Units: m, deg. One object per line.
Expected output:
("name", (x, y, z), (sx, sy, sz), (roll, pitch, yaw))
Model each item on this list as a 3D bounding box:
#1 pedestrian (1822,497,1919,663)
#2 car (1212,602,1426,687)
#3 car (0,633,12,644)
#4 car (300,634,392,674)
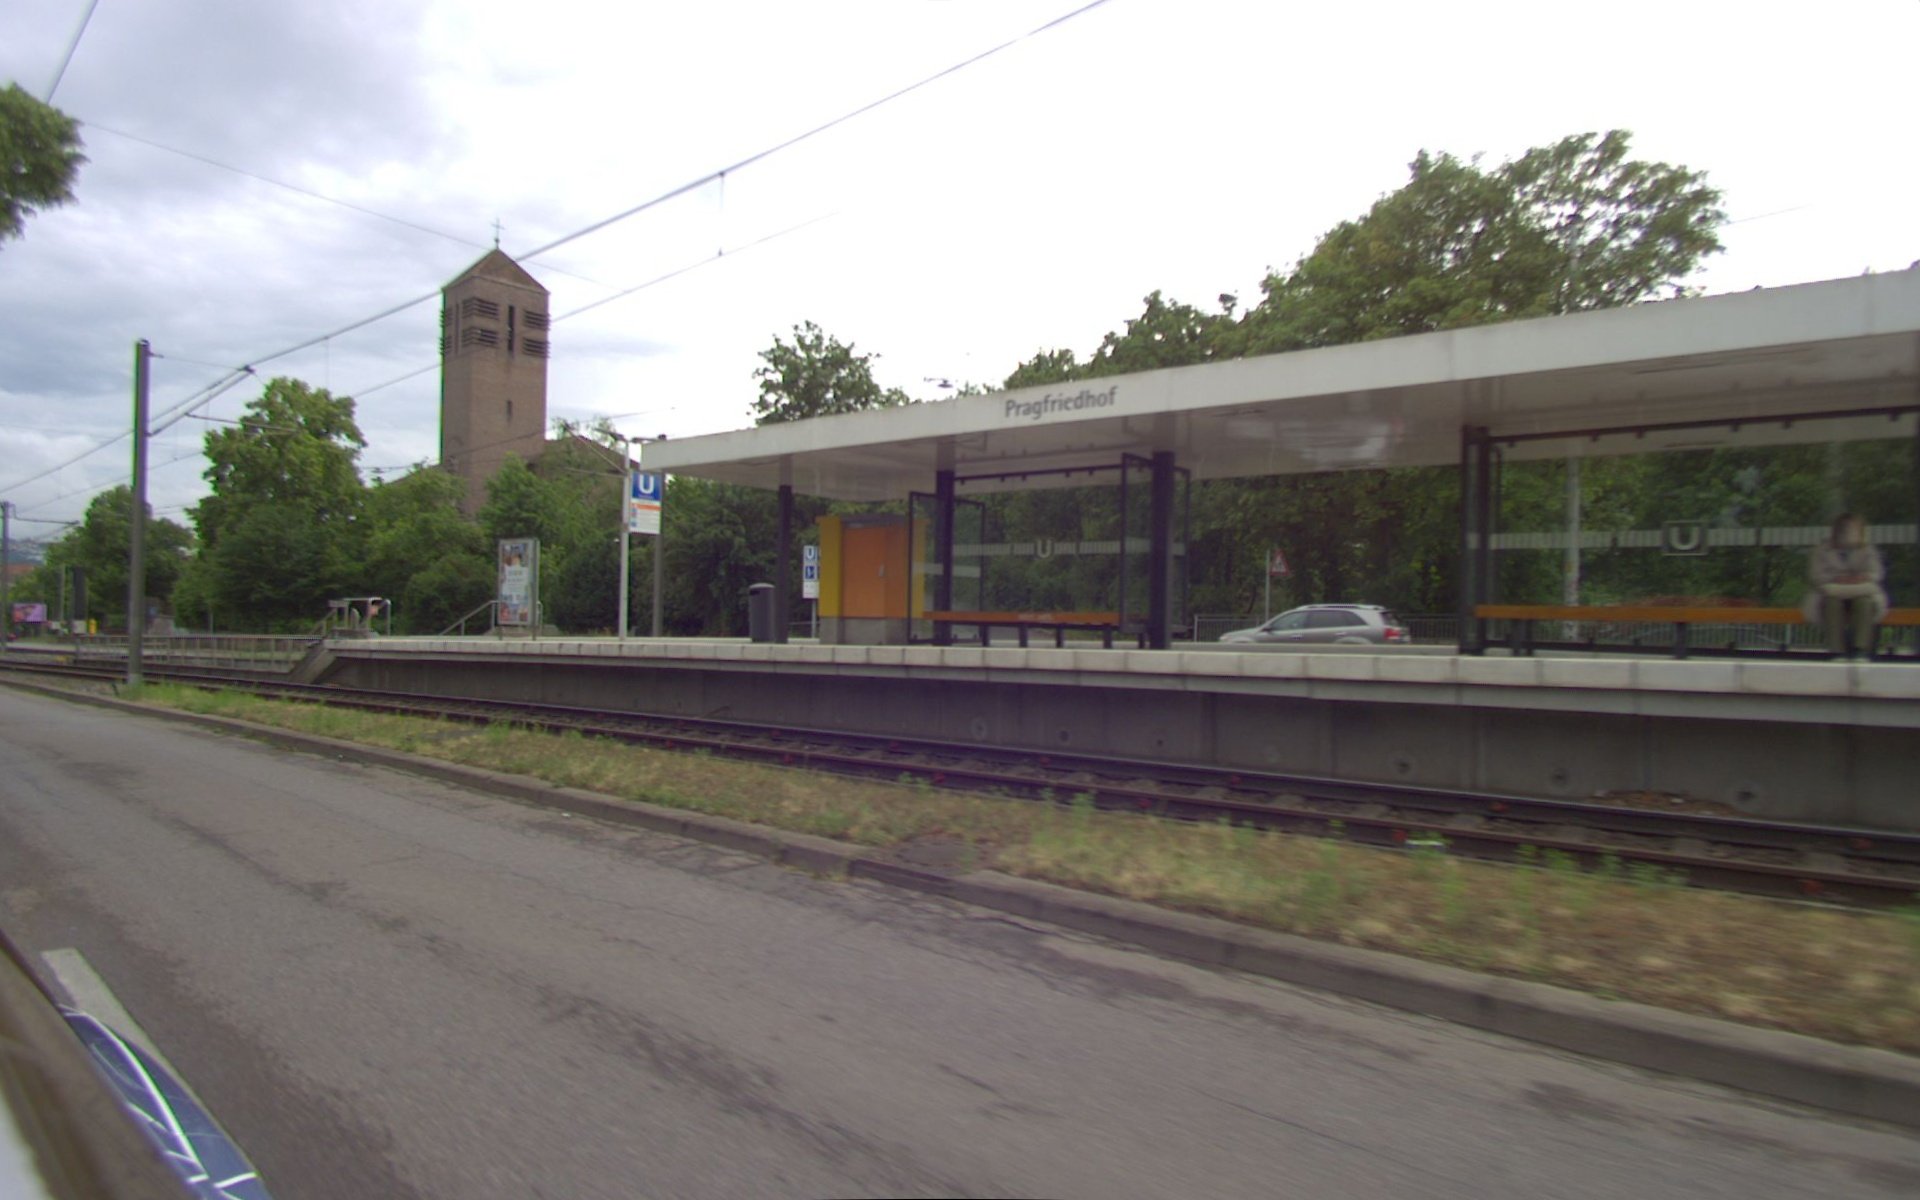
("pedestrian", (7.168, -0.143, 7.911), (0.619, 1.235, 0.703), (-1, -1, 40))
("car", (8.663, 1.029, 24.648), (4.513, 1.890, 1.974), (-1, -1, 40))
("car", (-130.043, 5.208, 136.945), (4.318, 1.452, 1.945), (-1, -3, 40))
("car", (-27.654, 2.390, 45.533), (4.509, 1.636, 1.975), (-1, -1, 37))
